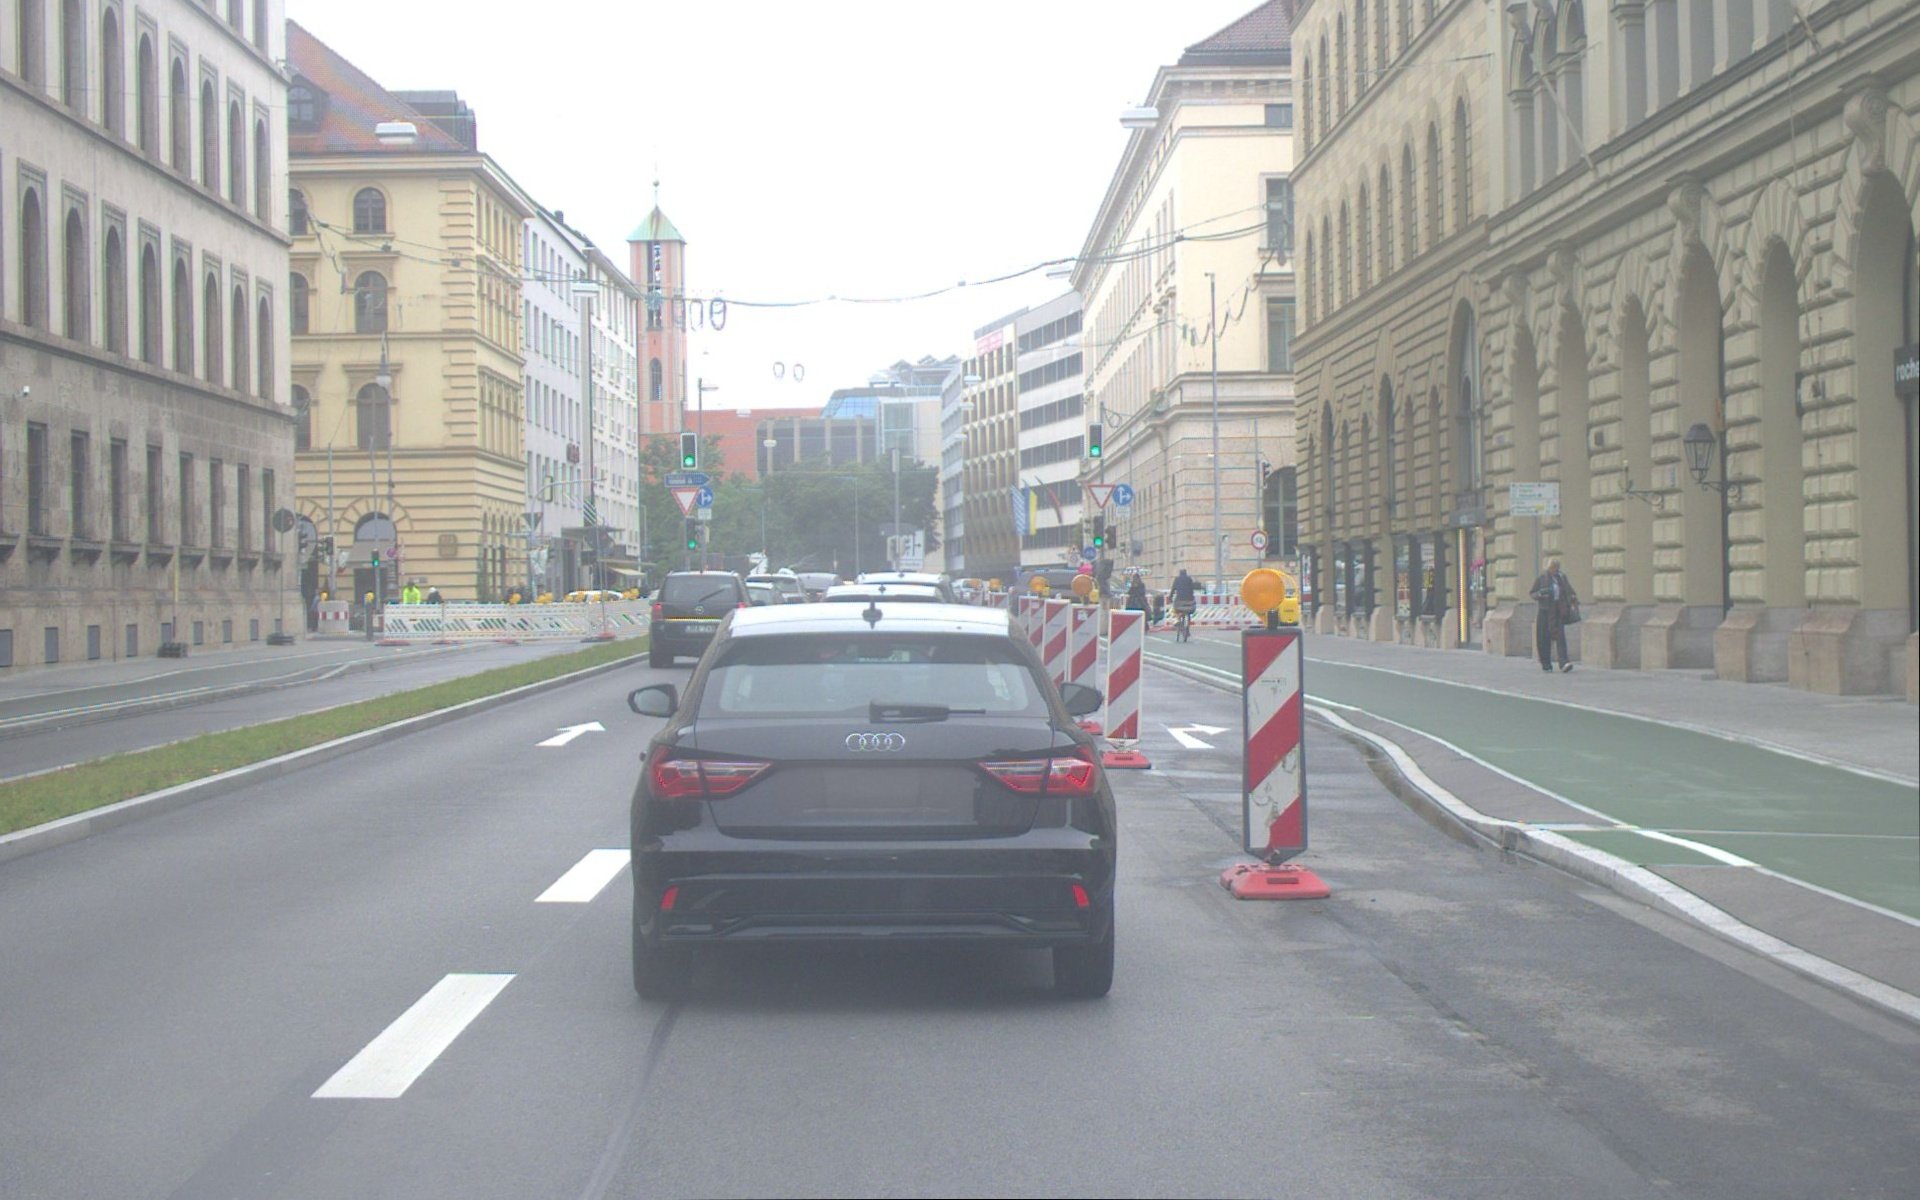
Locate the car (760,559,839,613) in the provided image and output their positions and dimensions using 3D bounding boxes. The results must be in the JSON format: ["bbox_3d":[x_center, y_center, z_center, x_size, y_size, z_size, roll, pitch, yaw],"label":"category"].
[{"bbox_3d":[-4.416,-0.404,94.985,1.993,1.439,4.000,-1,0,0],"label":"car"}]

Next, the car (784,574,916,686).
[{"bbox_3d":[-1.480,0.384,47.437,1.730,1.456,4.000,1,1,-1],"label":"car"}]

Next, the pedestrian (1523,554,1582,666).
[{"bbox_3d":[8.642,0.144,50.163,0.710,1.612,0.754,-1,0,-1],"label":"pedestrian"}]

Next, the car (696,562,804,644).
[{"bbox_3d":[-4.285,0.045,70.783,1.993,1.622,4.000,-1,0,0],"label":"car"}]

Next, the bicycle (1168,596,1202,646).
[{"bbox_3d":[5.337,0.488,81.691,0.728,1.152,2.172,-1,0,2],"label":"bicycle"}]

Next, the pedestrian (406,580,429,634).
[{"bbox_3d":[-18.370,0.228,116.499,0.656,1.799,0.727,-1,0,-1],"label":"pedestrian"}]

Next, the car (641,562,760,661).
[{"bbox_3d":[-4.352,0.166,58.197,1.764,1.610,4.030,0,1,-1],"label":"car"}]

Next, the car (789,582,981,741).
[{"bbox_3d":[-0.711,0.550,33.249,1.730,1.398,4.000,1,1,-1],"label":"car"}]

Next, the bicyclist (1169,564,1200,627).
[{"bbox_3d":[5.325,-0.106,81.607,0.710,1.495,0.754,-1,0,2],"label":"bicyclist"}]

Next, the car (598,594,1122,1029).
[{"bbox_3d":[-0.362,0.704,13.477,1.730,1.398,4.000,1,1,-1],"label":"car"}]

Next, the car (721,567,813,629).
[{"bbox_3d":[-4.611,-0.058,82.632,1.993,1.439,4.000,-1,0,0],"label":"car"}]
